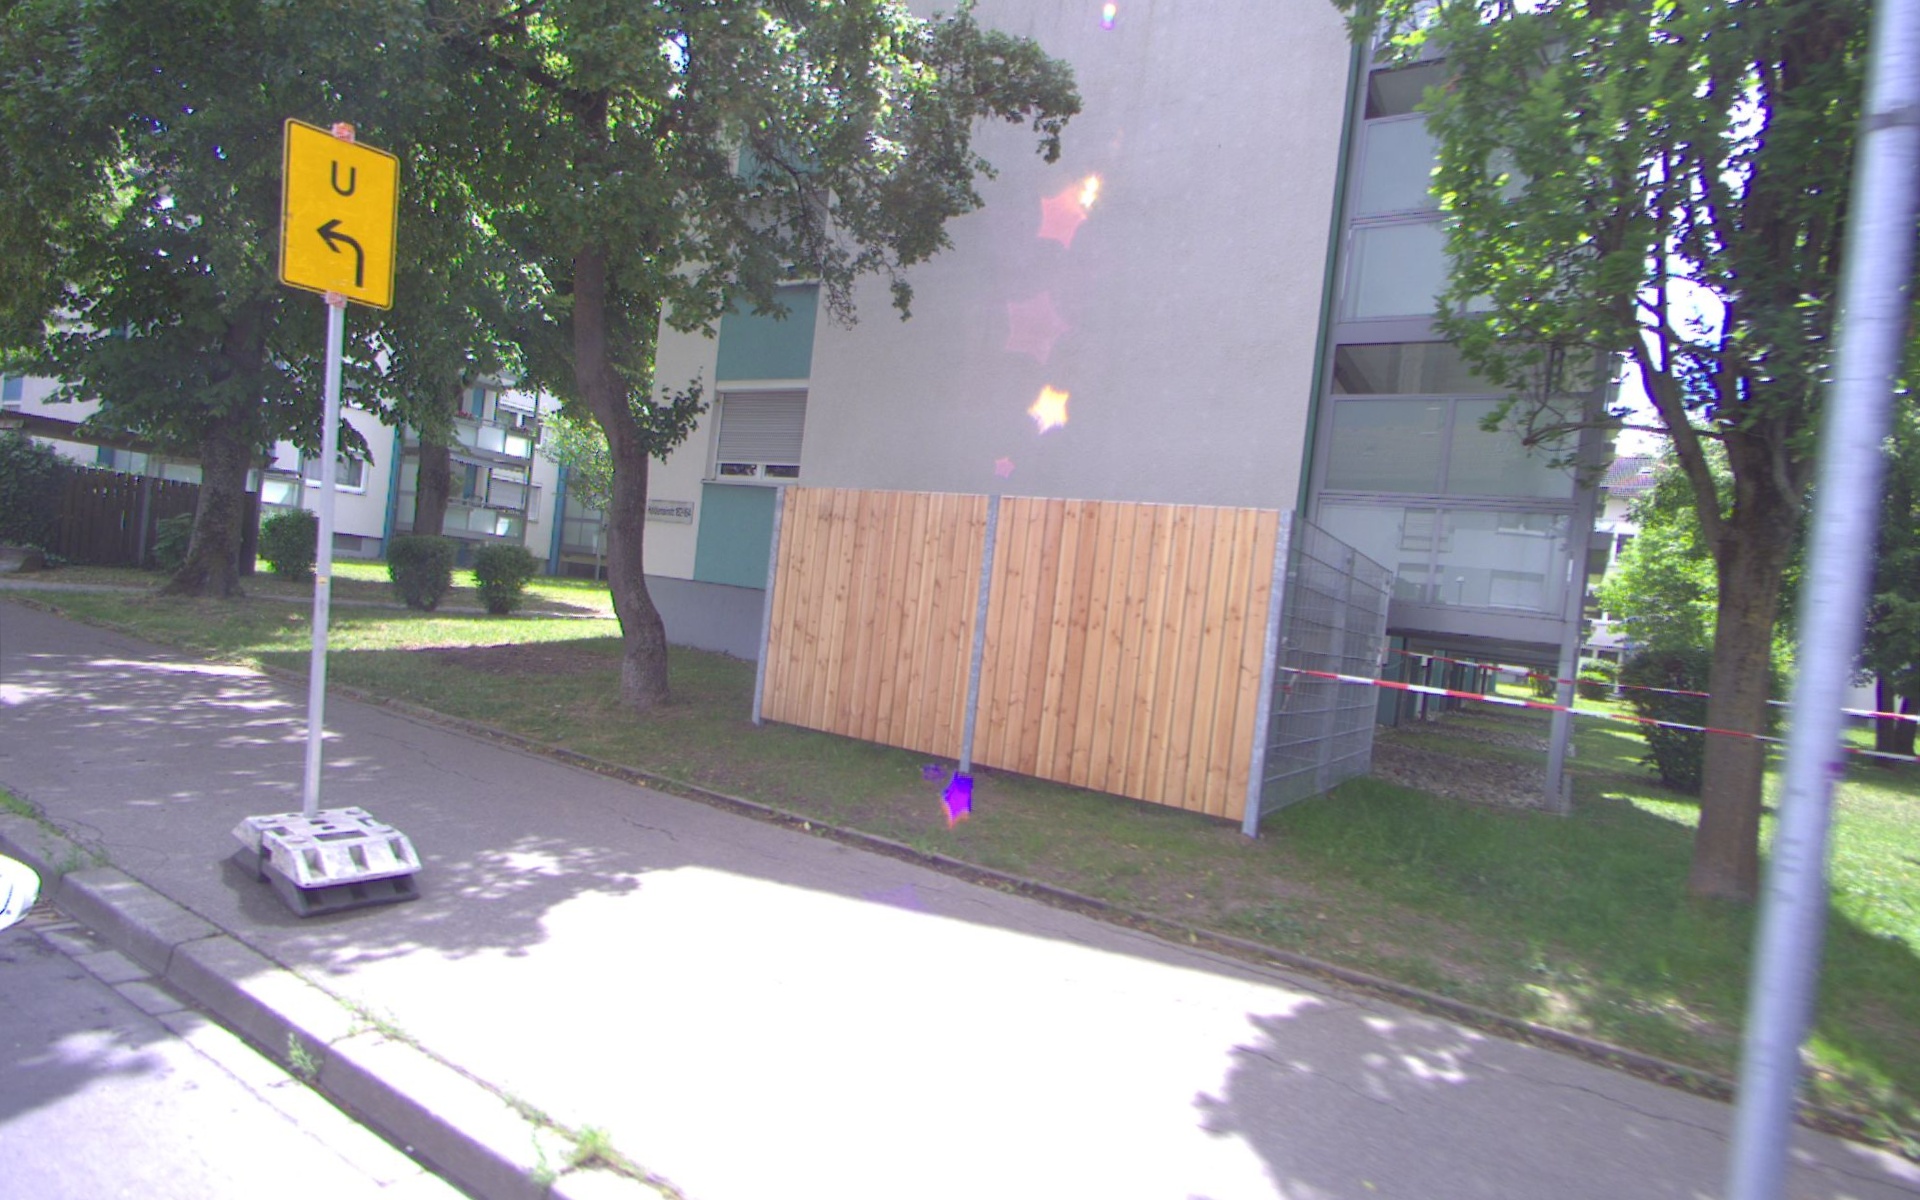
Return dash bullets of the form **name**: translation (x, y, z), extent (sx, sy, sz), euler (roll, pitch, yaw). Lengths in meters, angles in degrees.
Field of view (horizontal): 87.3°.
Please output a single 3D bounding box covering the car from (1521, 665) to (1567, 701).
- **car**: translation (20.330, 2.908, 34.992), extent (1.145, 1.005, 2.434), euler (7, -2, 34)
